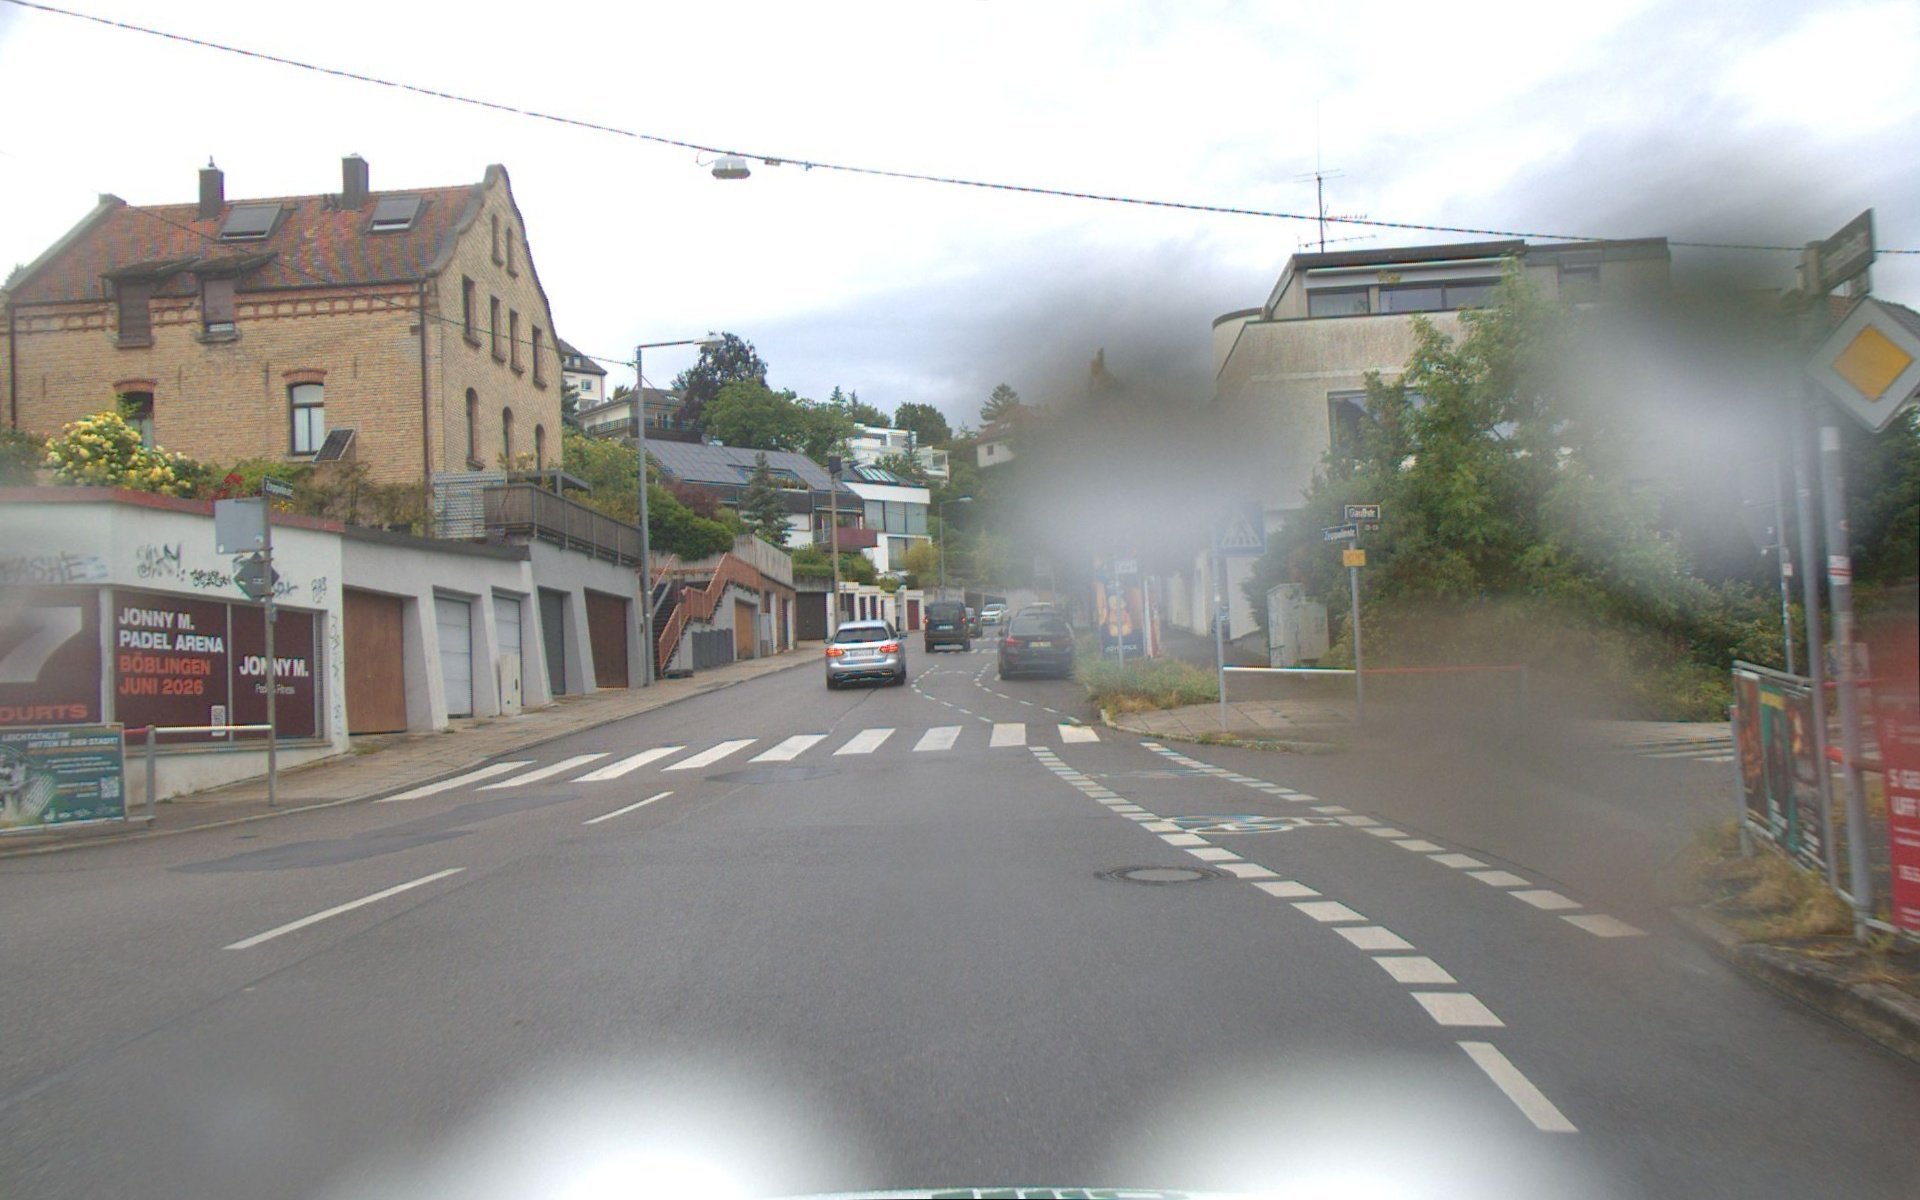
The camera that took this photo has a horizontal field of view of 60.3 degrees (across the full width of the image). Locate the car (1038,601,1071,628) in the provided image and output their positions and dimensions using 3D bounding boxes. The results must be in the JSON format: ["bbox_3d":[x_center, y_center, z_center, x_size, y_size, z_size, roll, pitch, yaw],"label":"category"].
[{"bbox_3d":[4.922,0.735,85.696,1.437,1.276,3.585,-2,0,7],"label":"car"}]

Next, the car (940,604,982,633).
[{"bbox_3d":[0.071,0.907,80.626,1.786,1.319,4.002,-2,0,4],"label":"car"}]

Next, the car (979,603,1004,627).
[{"bbox_3d":[2.279,1.071,118.158,1.692,1.635,3.549,-1,-1,2],"label":"car"}]

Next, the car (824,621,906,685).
[{"bbox_3d":[-2.232,1.187,38.052,1.776,1.384,3.995,0,-1,-5],"label":"car"}]

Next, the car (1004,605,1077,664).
[{"bbox_3d":[2.147,0.904,45.035,1.681,1.476,3.832,-2,0,-2],"label":"car"}]

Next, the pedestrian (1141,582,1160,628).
[{"bbox_3d":[7.712,0.205,66.913,0.625,1.826,0.744,-2,0,0],"label":"pedestrian"}]

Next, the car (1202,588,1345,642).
[{"bbox_3d":[9.226,0.444,48.605,3.903,1.440,1.726,-2,-1,17],"label":"car"}]

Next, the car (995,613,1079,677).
[{"bbox_3d":[1.814,1.046,39.929,1.735,1.401,4.348,-2,0,-1],"label":"car"}]

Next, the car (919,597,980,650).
[{"bbox_3d":[-0.360,0.856,62.358,1.785,1.851,4.003,-2,0,6],"label":"car"}]
